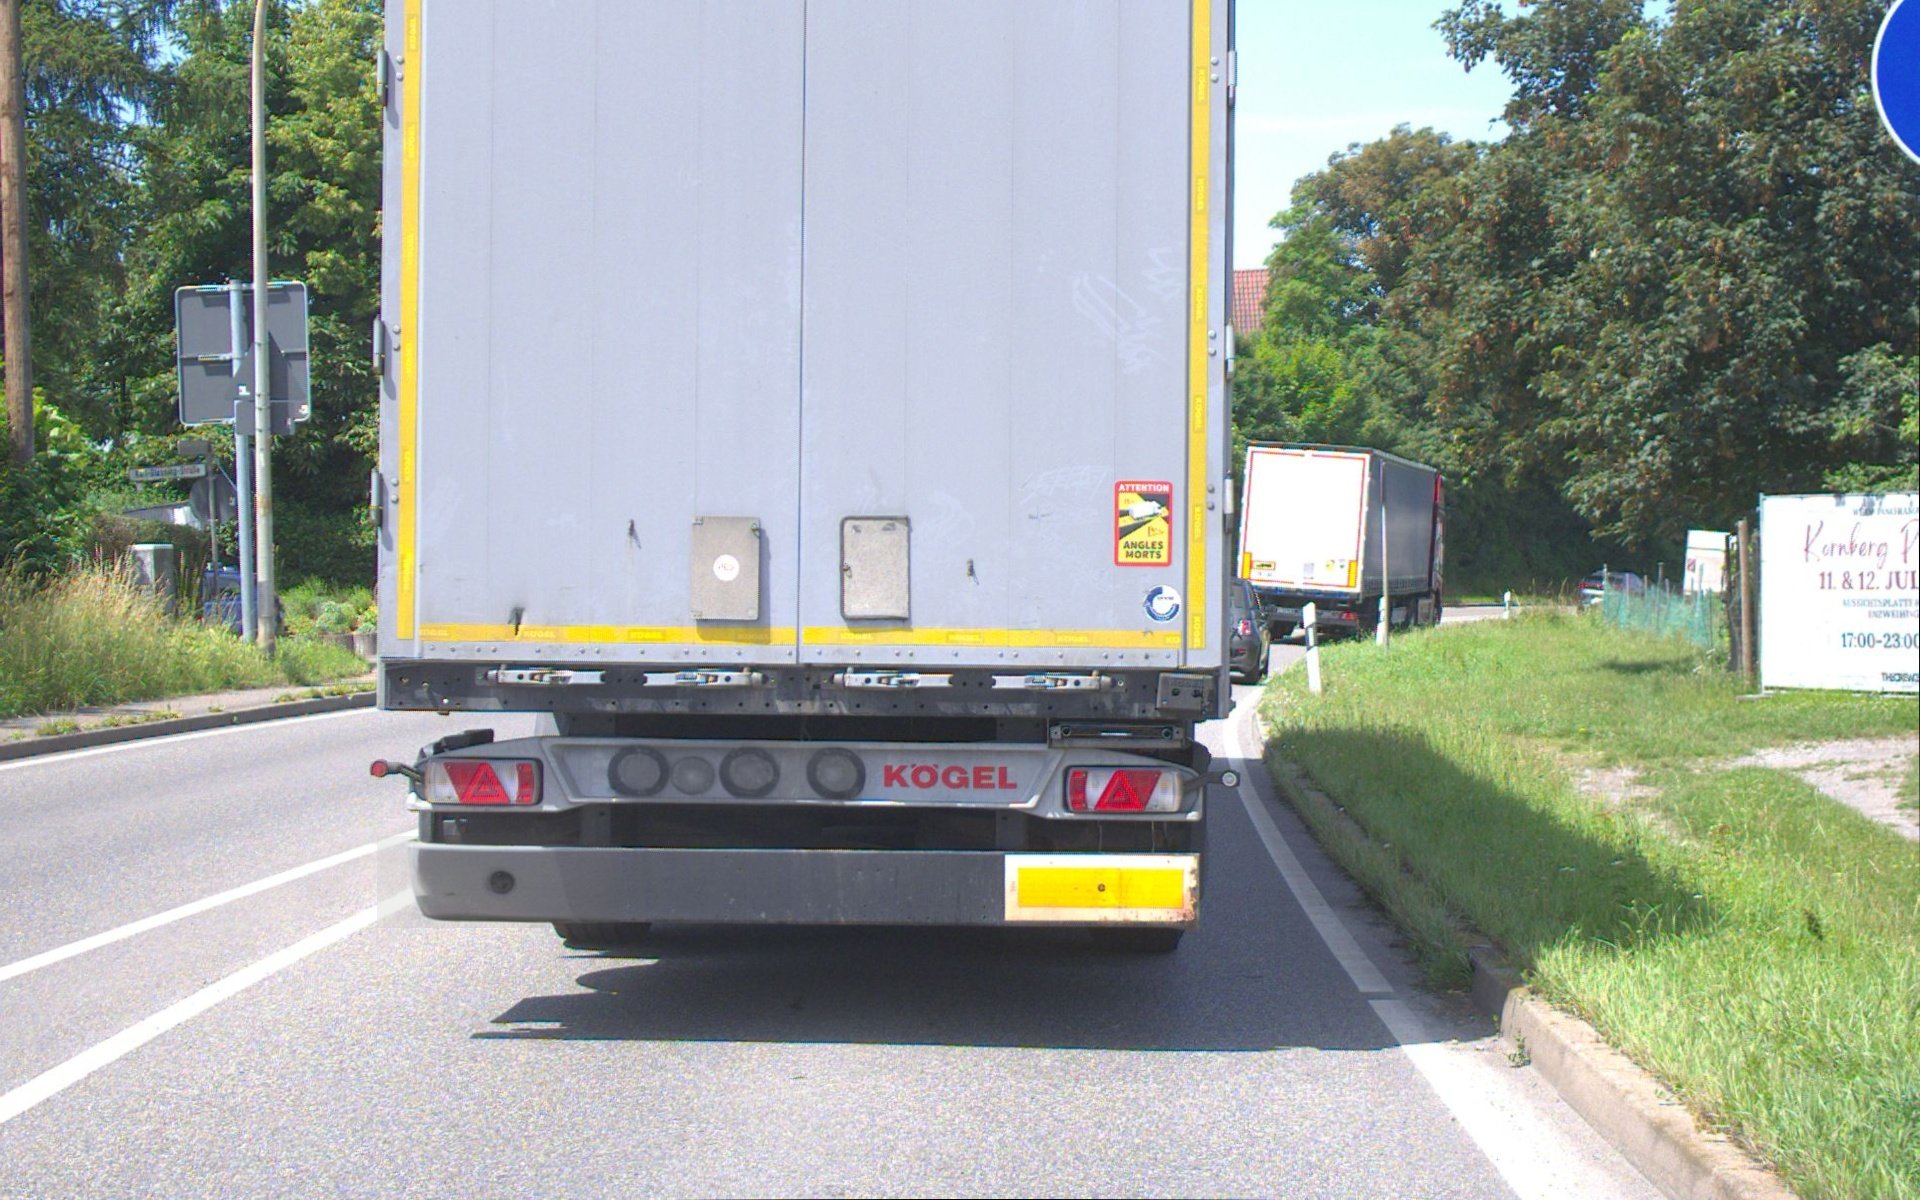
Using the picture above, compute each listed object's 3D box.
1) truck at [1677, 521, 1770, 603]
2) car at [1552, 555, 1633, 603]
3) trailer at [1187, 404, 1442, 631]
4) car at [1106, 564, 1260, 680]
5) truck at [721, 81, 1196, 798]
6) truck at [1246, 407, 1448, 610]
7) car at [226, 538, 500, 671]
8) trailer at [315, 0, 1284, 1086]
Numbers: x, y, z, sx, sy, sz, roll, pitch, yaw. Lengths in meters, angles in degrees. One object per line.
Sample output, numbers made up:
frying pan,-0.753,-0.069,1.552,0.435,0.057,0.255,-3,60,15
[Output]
truck,27.329,-1.394,122.979,2.423,2.828,5.406,1,1,22
car,20.561,-0.685,111.680,1.843,1.481,3.996,1,1,21
trailer,7.909,-1.728,74.641,3.893,4.505,12.706,0,1,13
car,3.215,0.273,48.960,1.994,1.525,3.999,0,1,7
truck,0.154,-1.010,23.049,2.746,4.151,6.142,0,1,3
truck,9.225,-2.118,81.254,3.939,4.559,7.148,0,1,13
car,-9.359,0.046,53.793,4.067,2.007,2.001,0,1,-15
trailer,-0.203,-0.860,15.942,2.787,4.191,12.111,0,1,3
